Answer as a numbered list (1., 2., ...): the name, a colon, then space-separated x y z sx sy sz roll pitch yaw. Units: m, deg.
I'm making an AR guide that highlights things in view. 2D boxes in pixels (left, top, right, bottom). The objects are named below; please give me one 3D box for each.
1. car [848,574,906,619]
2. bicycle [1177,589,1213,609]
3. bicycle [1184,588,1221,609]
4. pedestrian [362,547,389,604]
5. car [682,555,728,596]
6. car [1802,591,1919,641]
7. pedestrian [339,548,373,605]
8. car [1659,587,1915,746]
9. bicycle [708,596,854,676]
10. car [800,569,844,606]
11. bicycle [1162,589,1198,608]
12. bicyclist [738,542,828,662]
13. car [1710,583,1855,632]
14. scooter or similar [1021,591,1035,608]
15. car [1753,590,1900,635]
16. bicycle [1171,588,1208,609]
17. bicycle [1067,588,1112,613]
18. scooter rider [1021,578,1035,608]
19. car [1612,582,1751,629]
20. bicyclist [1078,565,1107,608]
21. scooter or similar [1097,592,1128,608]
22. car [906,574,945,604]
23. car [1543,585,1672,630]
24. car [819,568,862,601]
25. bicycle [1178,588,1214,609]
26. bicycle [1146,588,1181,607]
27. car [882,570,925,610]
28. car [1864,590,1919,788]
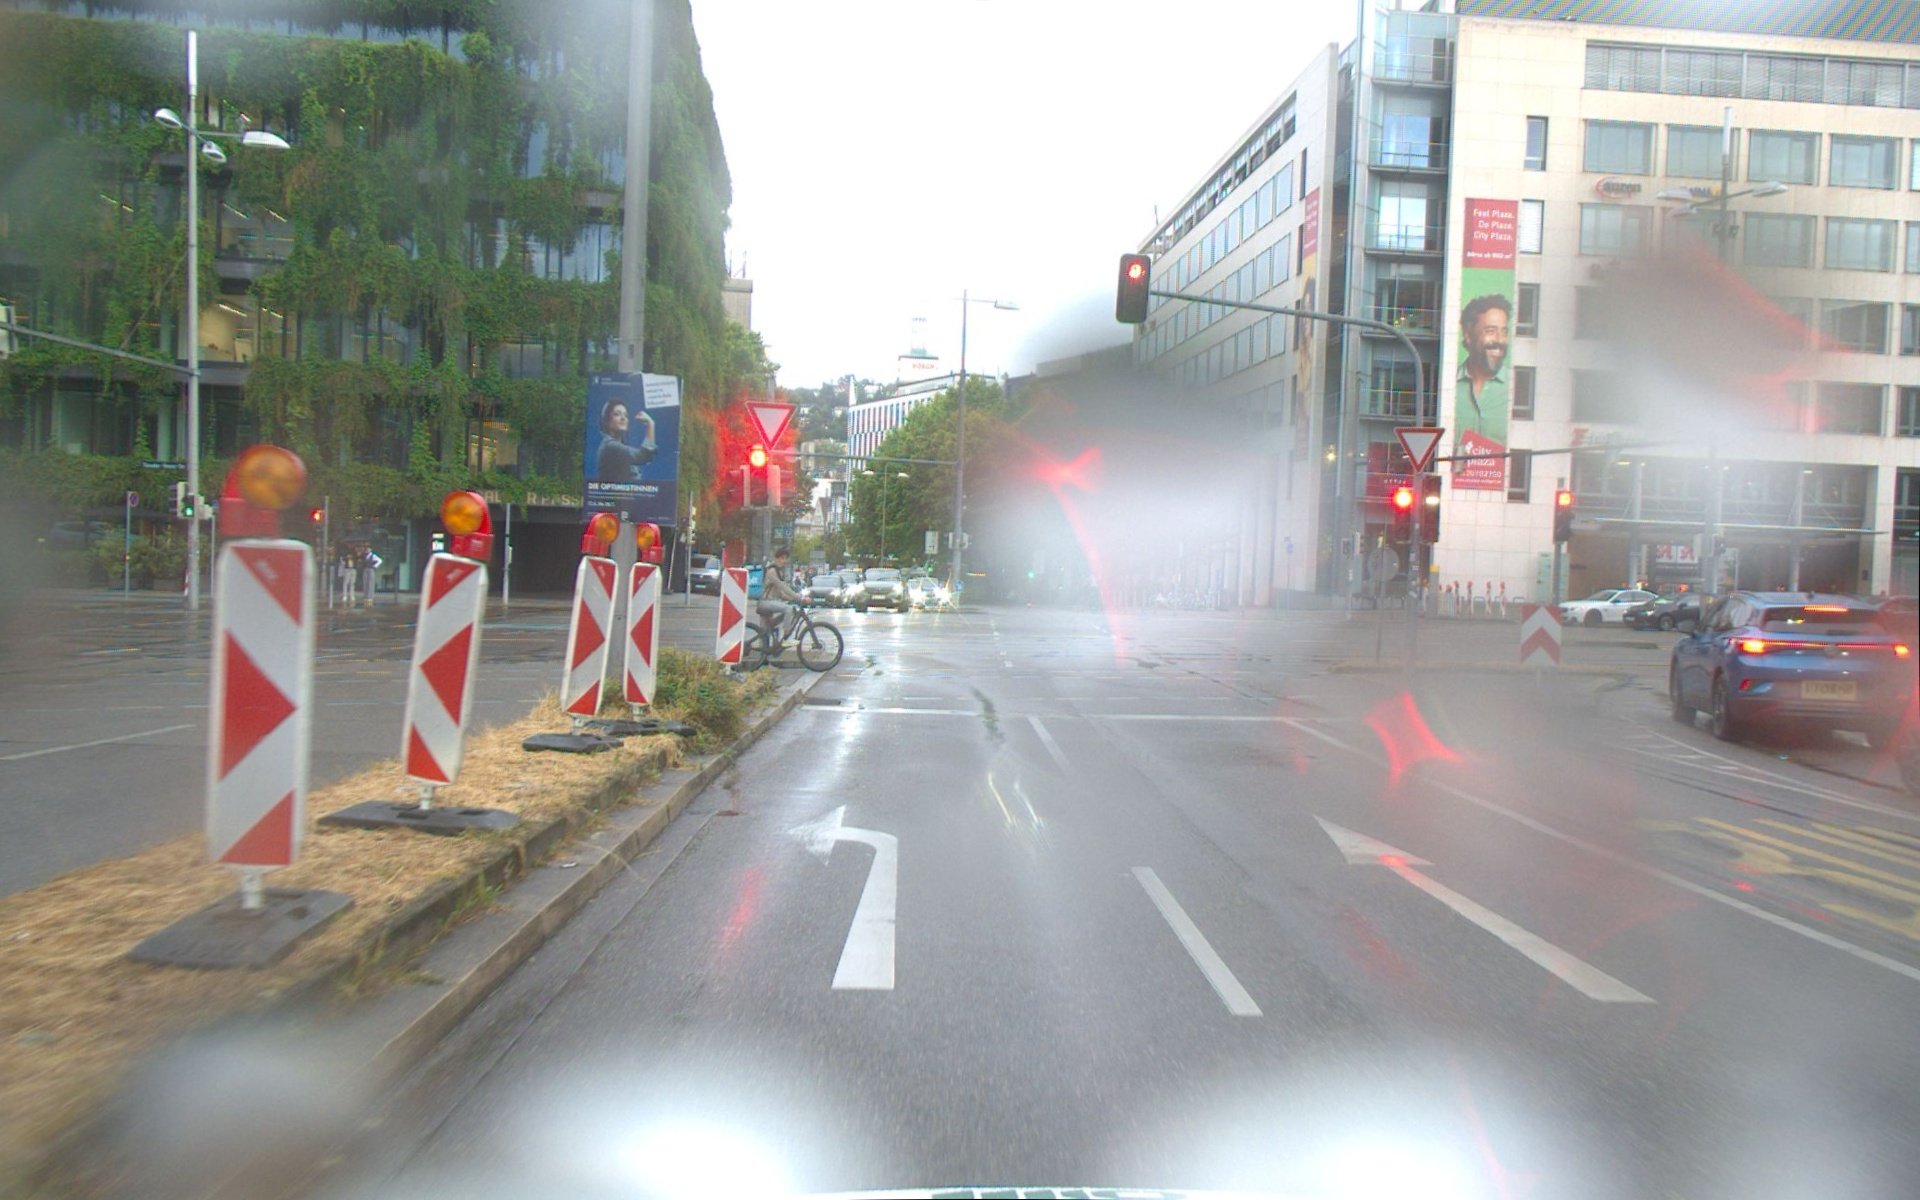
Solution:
1. car: -3.149 -0.149 61.921 1.955 1.577 4.551 1 1 -6
2. bicycle: 11.537 -0.039 81.344 1.767 0.950 0.473 2 1 41
3. bicycle: 11.685 -0.061 79.635 1.767 0.950 0.473 2 1 41
4. pedestrian: -18.672 -0.777 52.835 0.731 1.788 0.969 1 1 -24
5. car: -12.724 -1.234 82.723 1.955 1.928 4.461 1 1 -5
6. car: 28.914 0.507 51.888 4.374 1.489 1.717 1 1 -14
7. pedestrian: -19.224 -0.760 52.660 0.923 1.788 1.163 1 1 -24
8. car: 9.294 0.653 18.955 1.667 1.556 4.430 2 1 14
9. bicycle: -2.678 0.527 24.693 2.105 1.122 0.847 1 1 -8
10. car: -6.053 -0.564 72.411 1.820 1.473 4.617 1 1 -5
11. bicycle: 11.398 -0.084 85.670 1.757 0.950 0.475 1 1 2
12. bicyclist: -2.652 0.020 24.707 1.270 1.733 0.847 1 1 -8
13. car: 29.098 0.258 58.544 4.377 1.626 1.992 1 1 -16
14. scooter or similar: 4.192 -0.029 101.813 0.546 1.024 1.820 1 0 -8
15. car: 28.908 0.416 55.195 4.377 1.372 1.716 1 1 -16
16. bicycle: 10.938 -0.068 78.982 1.767 0.950 0.473 2 1 41
17. bicycle: 6.256 0.014 79.943 0.787 1.136 2.222 1 1 -41
18. scooter rider: 4.190 -0.441 101.836 0.748 1.805 0.794 1 0 -9
19. car: 26.560 0.189 60.923 4.373 1.626 1.994 1 1 -13
20. bicyclist: 6.381 -0.660 79.792 0.787 2.009 1.097 1 1 -41
21. scooter or similar: 8.706 -0.002 94.638 1.720 0.894 0.486 1 0 -20
22. car: -1.914 -0.633 90.441 1.954 1.468 4.553 1 2 -4
23. car: 25.131 0.293 64.216 4.378 1.626 1.992 1 1 -16
24. car: -5.745 -0.757 79.041 1.821 1.473 4.614 1 1 -7
25. bicycle: 11.511 -0.072 80.599 1.767 0.950 0.473 2 1 41
26. bicycle: 10.755 -0.113 87.509 1.757 0.950 0.475 1 1 2
27. car: -2.653 -0.481 77.179 1.924 1.684 4.363 1 2 -2
28. car: 8.445 0.743 11.832 1.741 1.567 4.148 1 1 1
